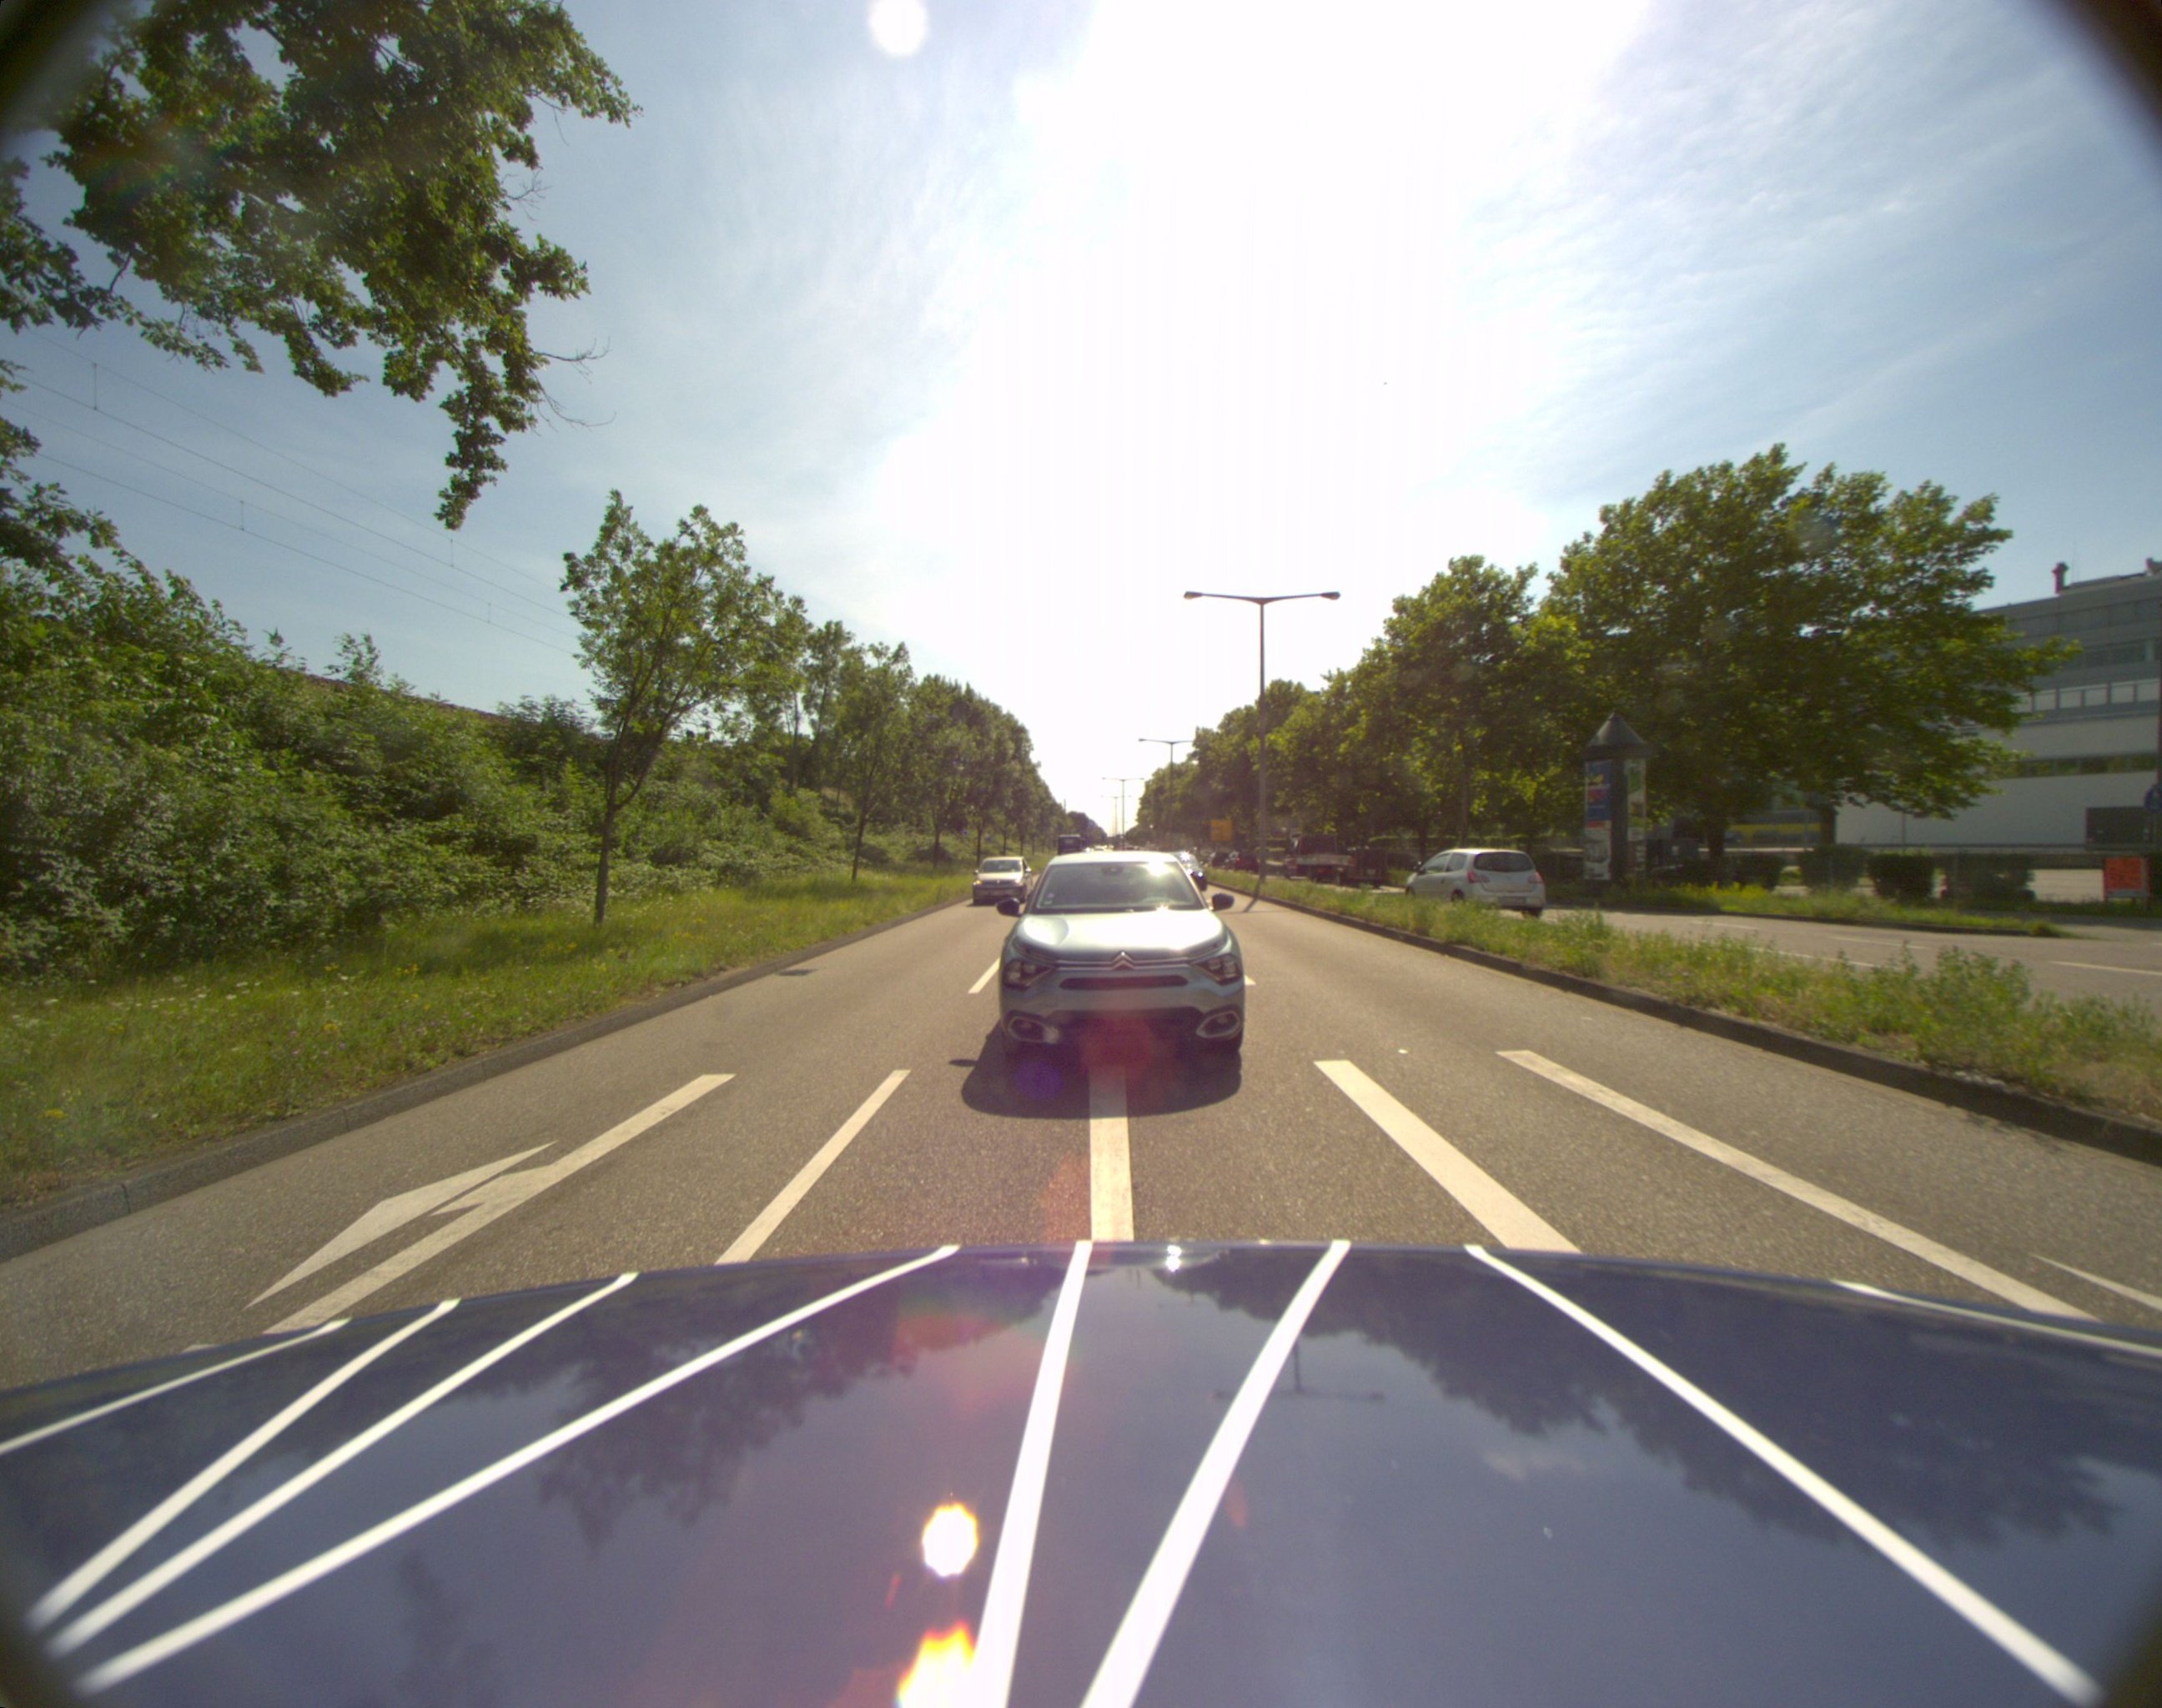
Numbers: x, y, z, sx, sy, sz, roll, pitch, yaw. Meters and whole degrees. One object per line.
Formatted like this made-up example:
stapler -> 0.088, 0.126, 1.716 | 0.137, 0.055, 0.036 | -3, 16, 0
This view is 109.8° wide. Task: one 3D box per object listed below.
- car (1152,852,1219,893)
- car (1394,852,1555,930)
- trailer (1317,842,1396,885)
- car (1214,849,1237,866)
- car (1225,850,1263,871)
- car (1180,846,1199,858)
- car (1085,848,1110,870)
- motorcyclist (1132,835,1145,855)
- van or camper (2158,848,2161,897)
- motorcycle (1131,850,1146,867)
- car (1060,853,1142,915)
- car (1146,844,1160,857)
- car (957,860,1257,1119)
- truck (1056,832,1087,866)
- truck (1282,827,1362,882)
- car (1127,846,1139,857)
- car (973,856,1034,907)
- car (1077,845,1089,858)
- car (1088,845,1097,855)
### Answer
car -> 4.031, 0.658, 28.777 | 1.728, 1.354, 4.072 | -2, 1, 19
car -> 8.468, 0.716, 16.722 | 1.653, 1.505, 3.735 | -1, 0, 1
trailer -> 11.678, 0.382, 32.517 | 2.066, 1.706, 3.991 | -1, 1, 3
car -> 13.206, 0.316, 69.620 | 1.843, 1.414, 3.896 | 1, 1, 7
car -> 11.406, 0.451, 53.436 | 1.852, 1.426, 3.767 | 0, 0, 0
car -> 14.066, -0.271, 98.689 | 1.844, 1.414, 4.221 | 1, 0, 0
car -> 1.275, 0.354, 57.346 | 1.826, 1.521, 4.547 | -1, 0, 2
motorcyclist -> 4.900, -0.764, 64.946 | 1.066, 1.689, 1.042 | -1, 1, 0
van or camper -> 39.497, 0.635, 25.063 | 2.004, 1.682, 4.500 | -1, 1, -37
motorcycle -> 4.888, 0.364, 64.822 | 1.052, 1.343, 2.331 | -1, 1, 0
car -> 0.523, 0.742, 20.802 | 1.998, 1.492, 4.000 | -1, 0, 1
car -> 11.869, -0.591, 125.188 | 1.998, 2.002, 4.000 | -1, 1, 1
car -> 0.245, 0.859, 7.048 | 1.826, 1.521, 4.752 | -1, 0, 2
truck -> -0.877, -0.478, 76.699 | 2.775, 3.248, 7.482 | 0, 1, 1
truck -> 11.895, -0.017, 38.072 | 2.144, 2.461, 7.129 | -1, 1, 3
car -> 9.284, -0.456, 135.821 | 1.998, 2.002, 4.000 | -1, 1, 1
car -> -2.433, 0.837, 24.668 | 1.705, 1.429, 3.677 | -2, 1, -2
car -> 0.323, -0.442, 122.085 | 1.998, 2.002, 4.000 | -1, 1, 1
car -> 2.480, -0.915, 163.682 | 1.998, 2.002, 4.000 | -1, 1, 1
